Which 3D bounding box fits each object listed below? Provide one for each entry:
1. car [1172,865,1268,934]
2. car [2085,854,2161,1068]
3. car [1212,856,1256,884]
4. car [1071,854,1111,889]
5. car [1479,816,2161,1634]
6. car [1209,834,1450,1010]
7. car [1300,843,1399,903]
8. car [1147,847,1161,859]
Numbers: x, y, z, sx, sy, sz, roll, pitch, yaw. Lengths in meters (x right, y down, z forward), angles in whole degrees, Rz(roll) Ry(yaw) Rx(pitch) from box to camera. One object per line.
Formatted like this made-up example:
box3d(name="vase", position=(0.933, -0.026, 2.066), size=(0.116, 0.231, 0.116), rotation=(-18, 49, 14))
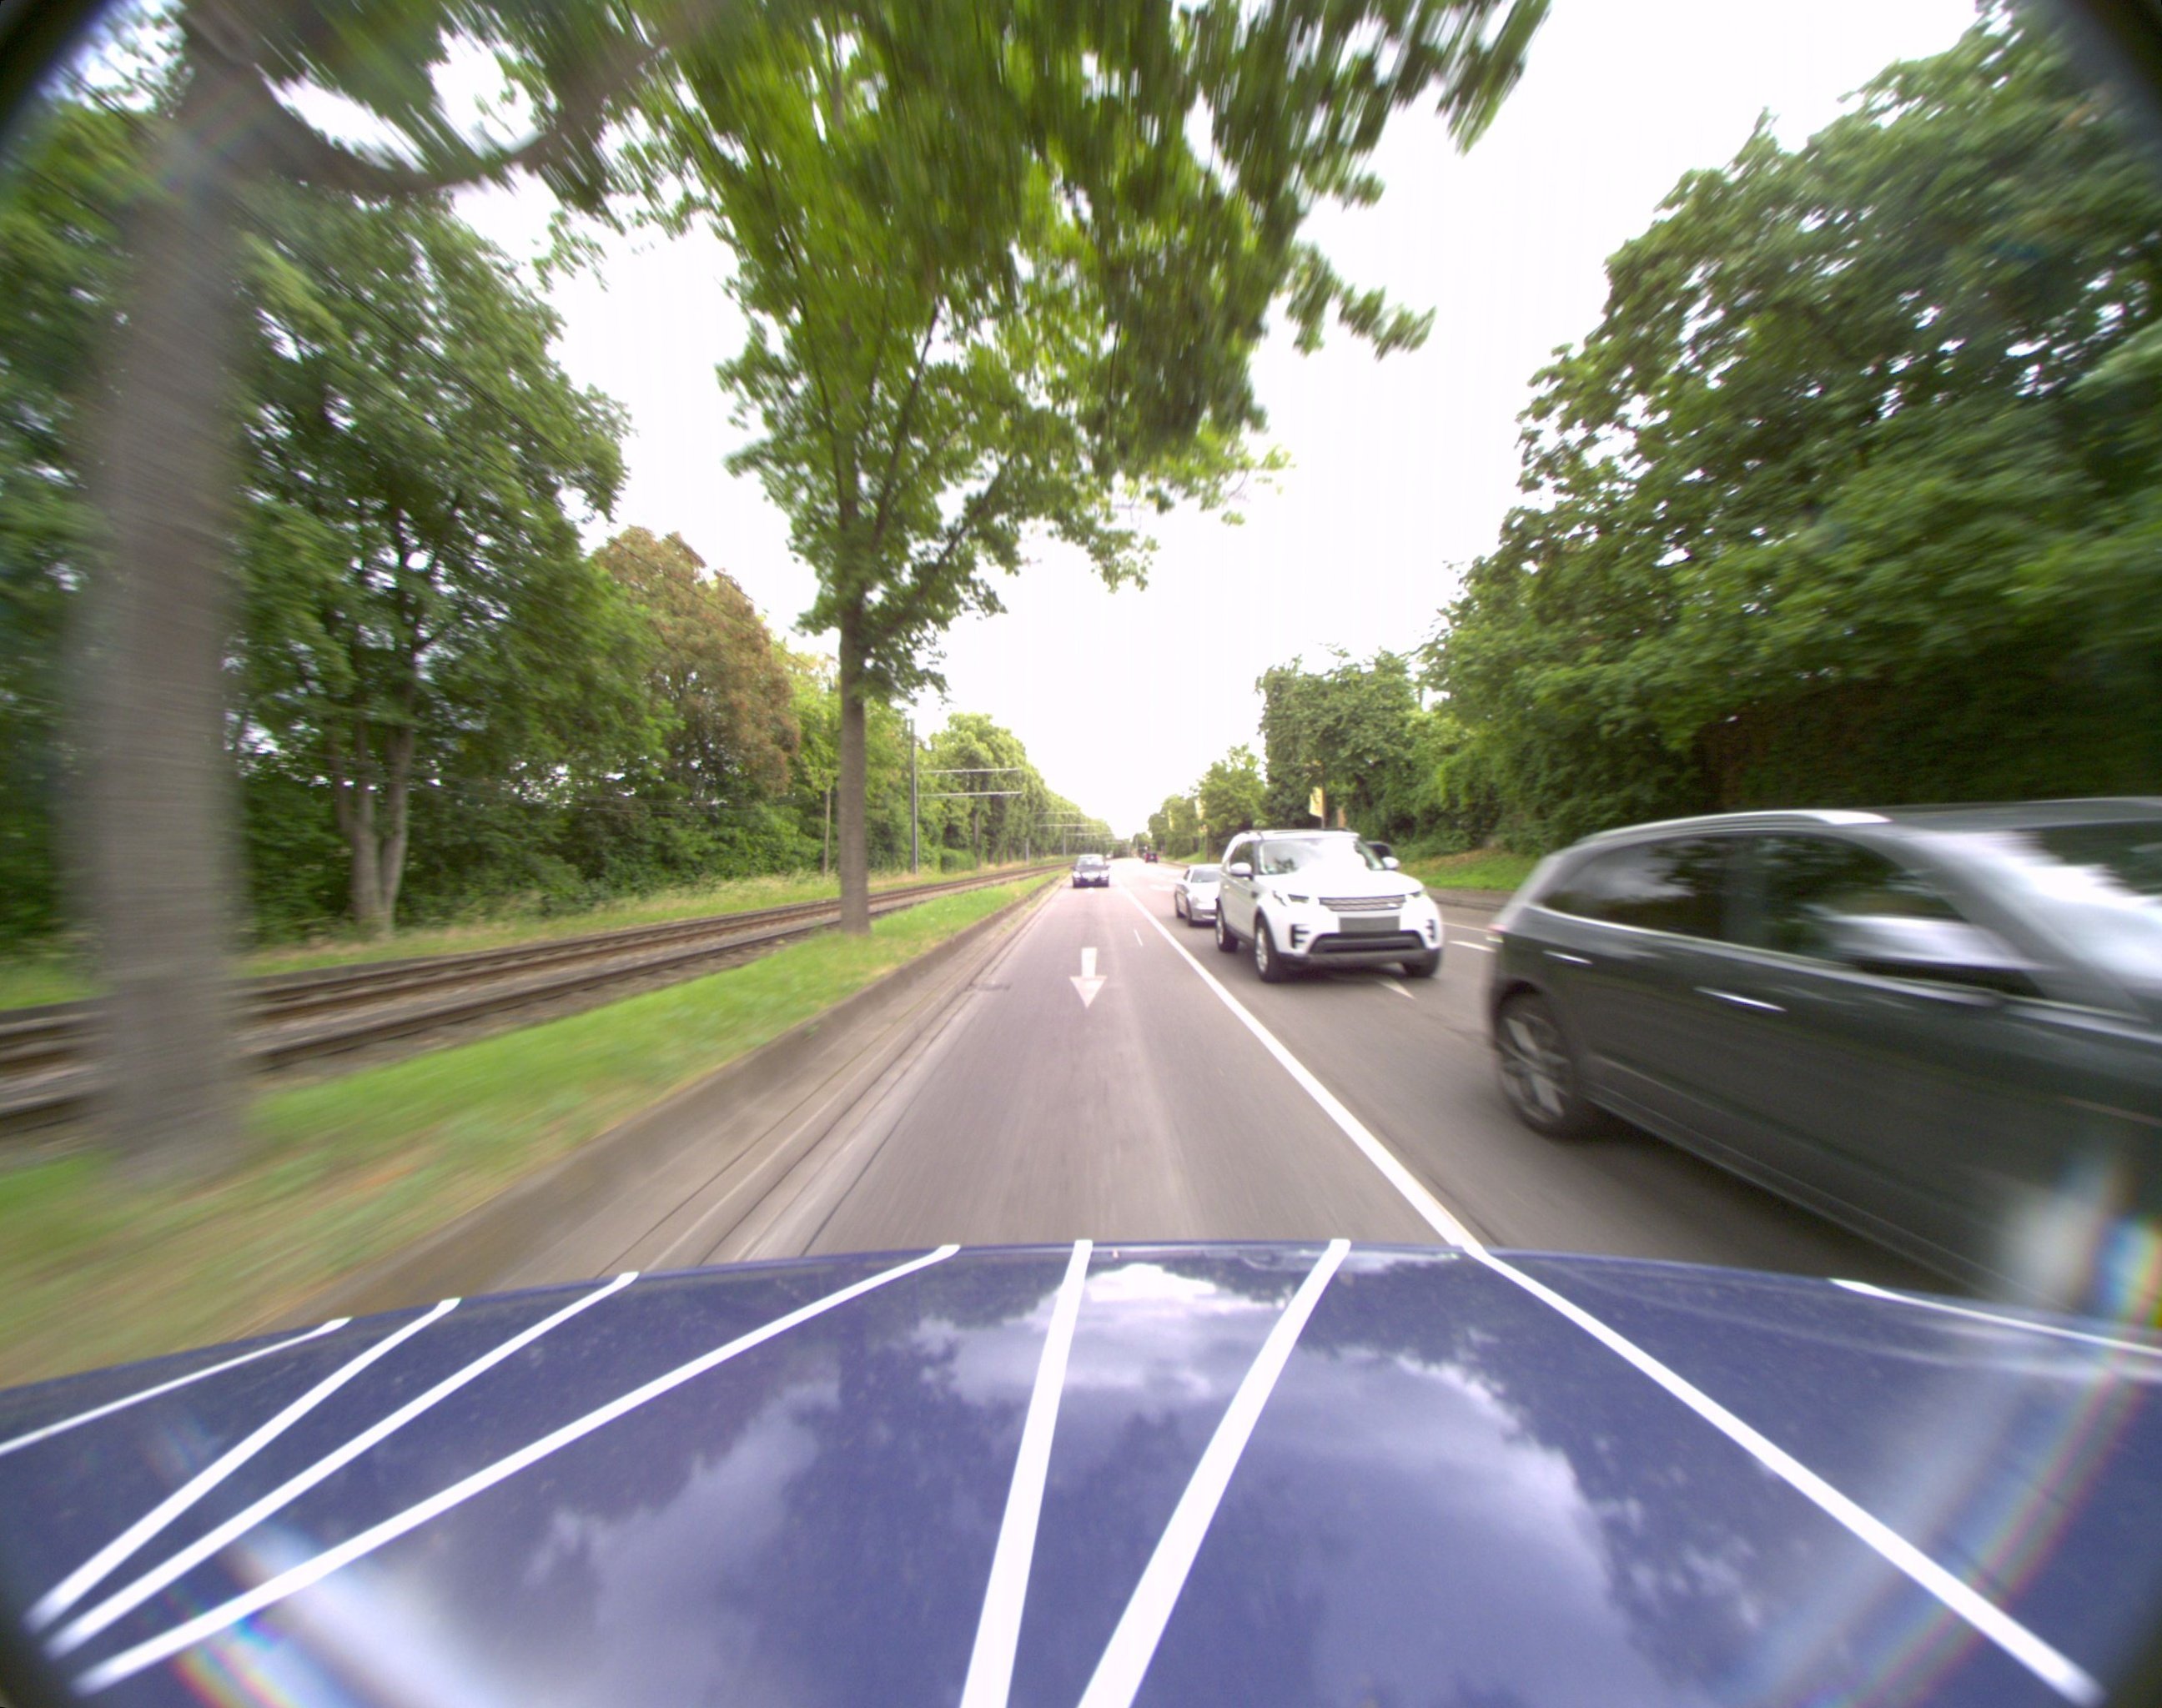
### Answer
box3d(name="car", position=(3.024, 0.944, 17.185), size=(1.558, 1.260, 3.822), rotation=(-2, 1, 2))
box3d(name="car", position=(8.648, 0.761, 3.926), size=(1.744, 1.530, 3.910), rotation=(-1, 0, 0))
box3d(name="car", position=(8.257, 0.831, 41.189), size=(1.634, 1.387, 3.833), rotation=(0, 0, 0))
box3d(name="car", position=(0.541, 0.833, 38.091), size=(1.807, 1.520, 3.929), rotation=(-3, 1, 3))
box3d(name="car", position=(3.128, 0.752, 2.169), size=(1.755, 1.708, 4.334), rotation=(-1, 1, 1))
box3d(name="car", position=(3.001, 0.699, 10.280), size=(1.808, 1.784, 4.503), rotation=(-3, 1, 1))
box3d(name="car", position=(8.888, 0.579, 25.547), size=(1.796, 1.821, 4.409), rotation=(0, 0, 0))
box3d(name="car", position=(11.587, -0.206, 120.940), size=(1.808, 1.893, 4.688), rotation=(0, 0, 0))
